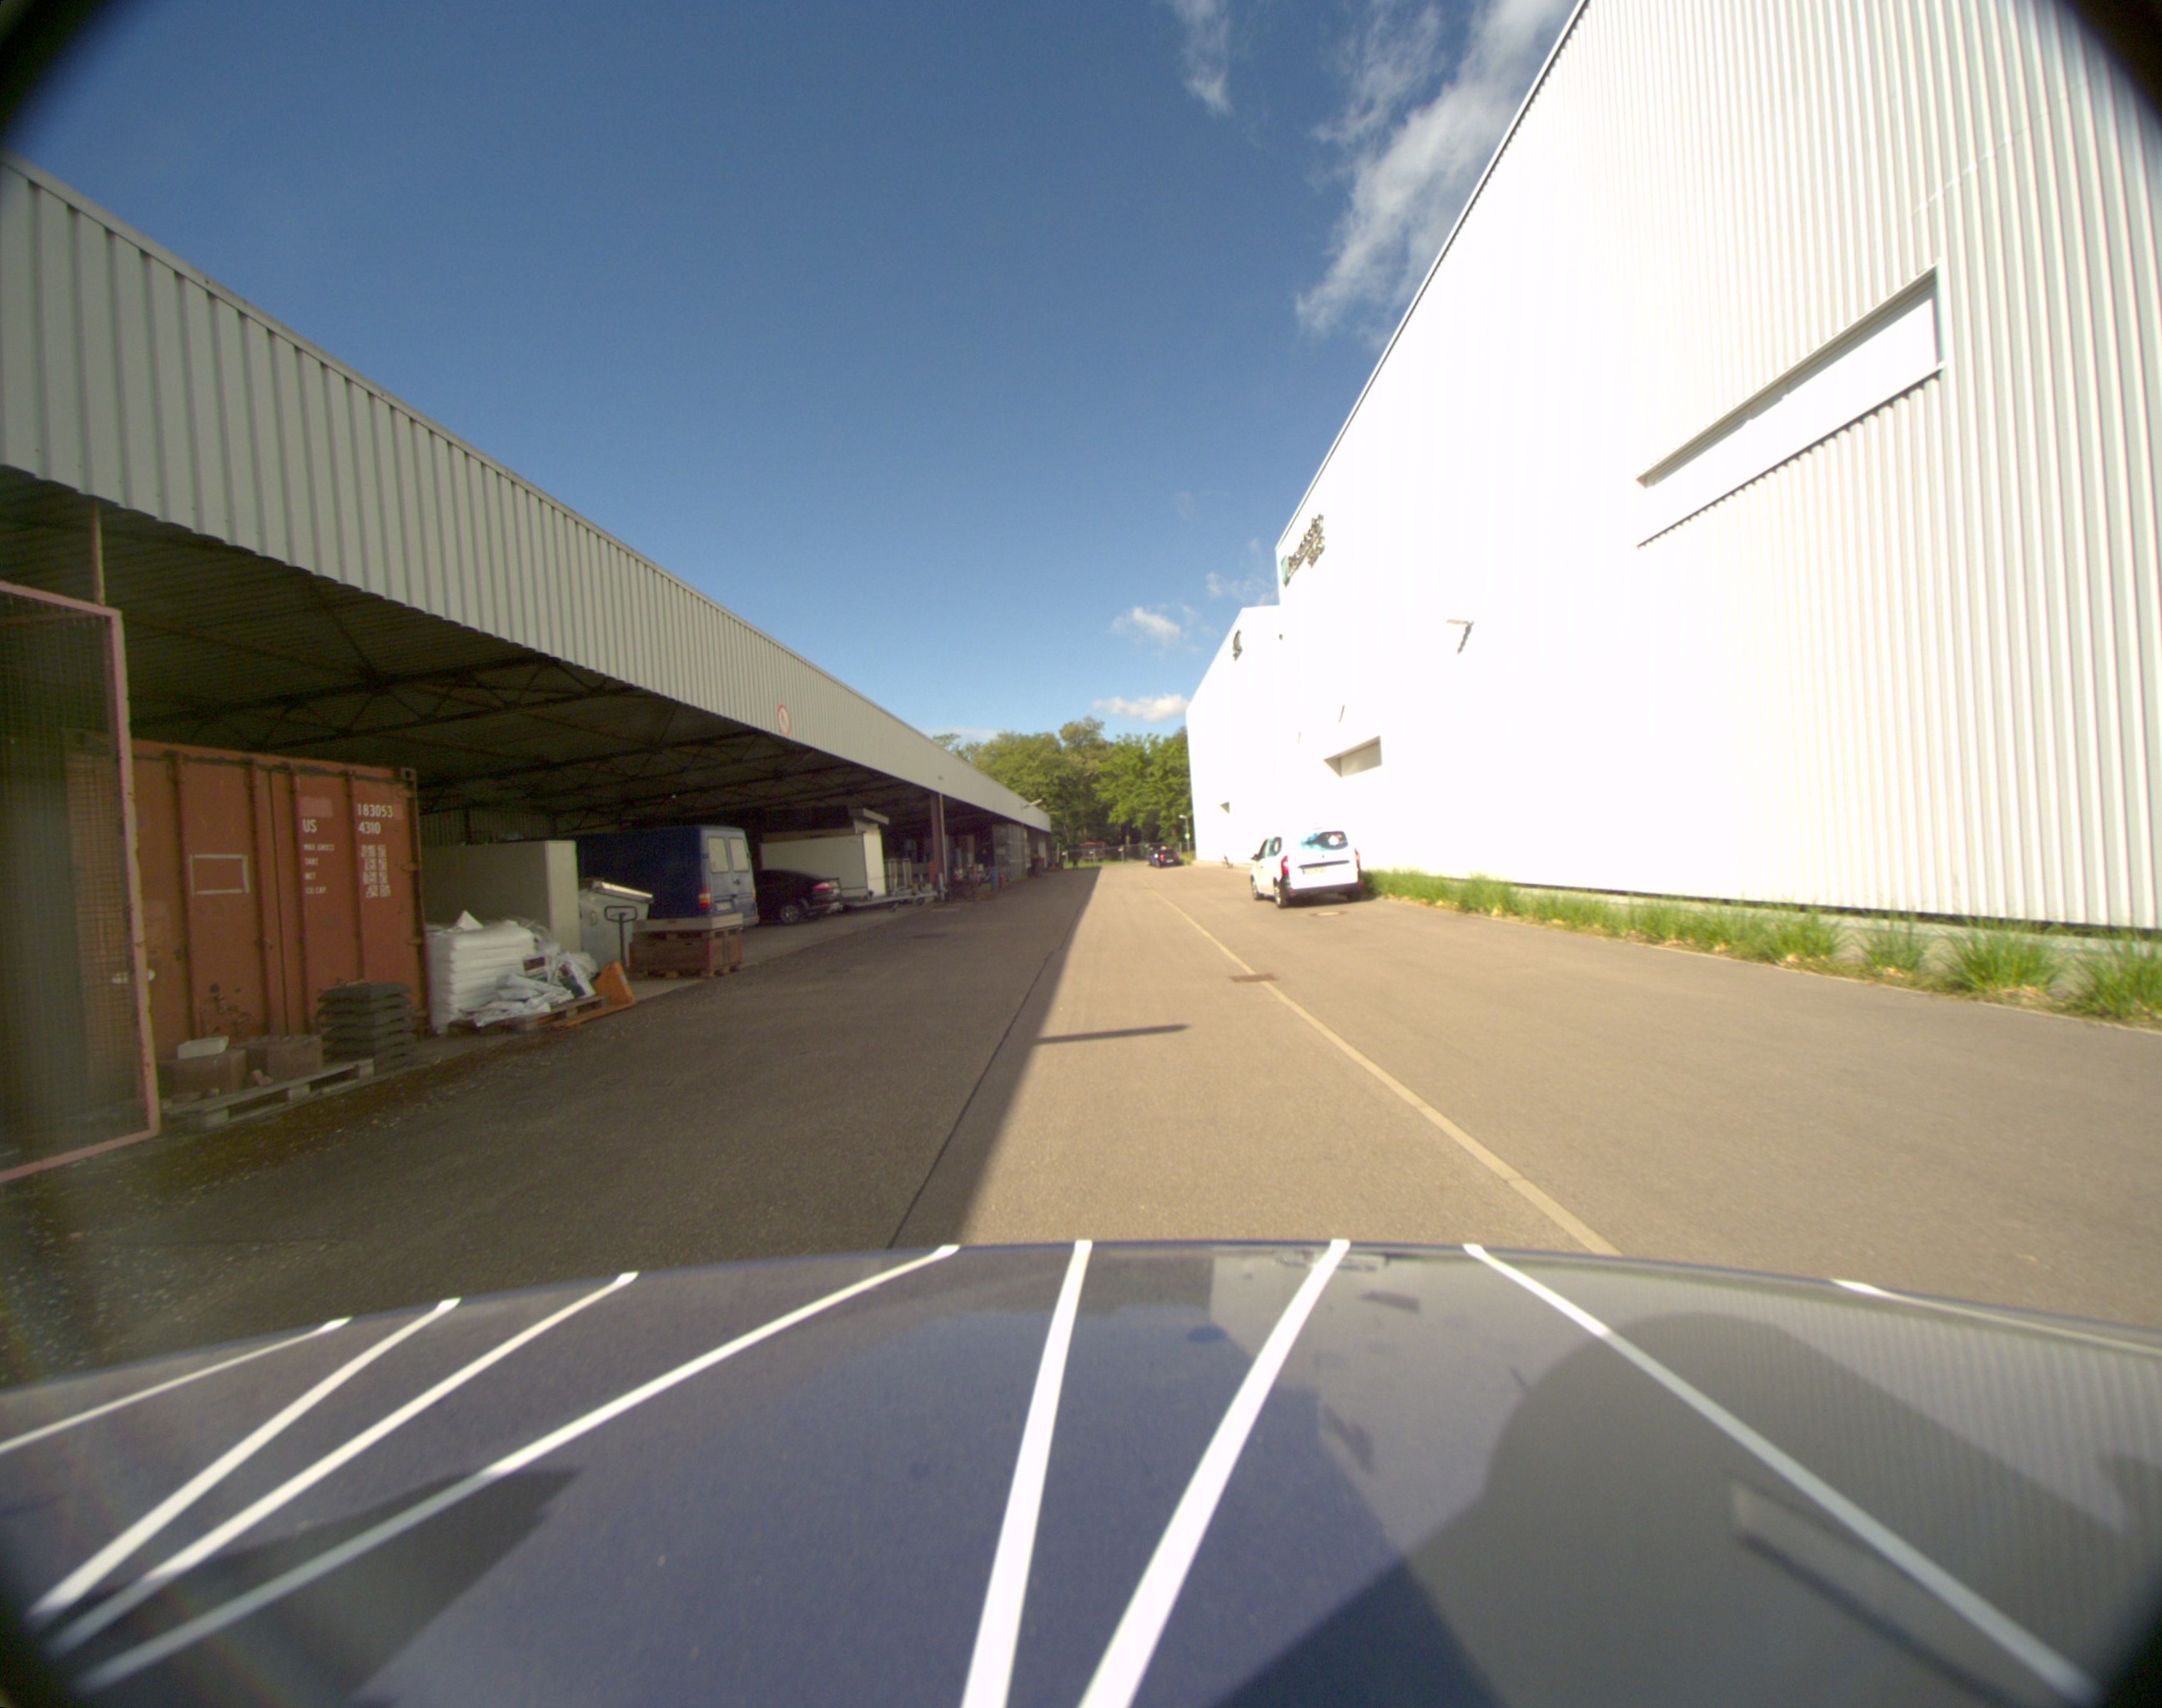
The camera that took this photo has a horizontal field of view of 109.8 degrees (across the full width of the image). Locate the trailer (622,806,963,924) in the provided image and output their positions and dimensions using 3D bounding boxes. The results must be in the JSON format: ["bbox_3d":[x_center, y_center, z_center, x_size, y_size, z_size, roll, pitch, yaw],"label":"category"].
[{"bbox_3d":[-9.260,0.344,25.164,10.061,3.197,2.854,-3,1,2],"label":"trailer"}]

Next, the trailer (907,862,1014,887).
[{"bbox_3d":[-6.963,1.150,44.207,5.836,1.113,2.029,-3,0,1],"label":"trailer"}]

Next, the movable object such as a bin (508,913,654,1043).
[{"bbox_3d":[-5.262,1.269,8.077,0.583,1.157,1.238,-3,1,6],"label":"movable object such as a bin"}]

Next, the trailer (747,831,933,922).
[{"bbox_3d":[-7.072,0.649,22.552,4.822,2.377,1.827,-3,1,7],"label":"trailer"}]

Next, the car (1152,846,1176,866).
[{"bbox_3d":[7.185,0.150,66.252,1.789,1.513,4.001,-6,0,4],"label":"car"}]

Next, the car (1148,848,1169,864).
[{"bbox_3d":[7.272,0.164,71.708,1.789,1.431,4.001,-3,0,4],"label":"car"}]

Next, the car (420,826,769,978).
[{"bbox_3d":[-8.668,0.815,13.865,4.990,2.312,2.000,-3,1,2],"label":"car"}]

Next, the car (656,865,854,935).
[{"bbox_3d":[-8.428,1.166,19.900,4.340,1.487,1.777,-3,1,0],"label":"car"}]

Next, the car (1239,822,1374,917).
[{"bbox_3d":[5.263,0.322,18.372,1.895,1.835,4.358,-6,0,2],"label":"car"}]

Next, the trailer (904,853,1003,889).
[{"bbox_3d":[-6.811,0.890,40.849,4.879,1.619,2.029,-3,1,1],"label":"trailer"}]

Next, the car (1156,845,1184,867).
[{"bbox_3d":[7.129,0.151,61.000,1.895,1.513,4.001,-6,0,4],"label":"car"}]

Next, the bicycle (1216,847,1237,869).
[{"bbox_3d":[8.618,0.226,45.019,0.909,1.136,1.901,-7,1,17],"label":"bicycle"}]
